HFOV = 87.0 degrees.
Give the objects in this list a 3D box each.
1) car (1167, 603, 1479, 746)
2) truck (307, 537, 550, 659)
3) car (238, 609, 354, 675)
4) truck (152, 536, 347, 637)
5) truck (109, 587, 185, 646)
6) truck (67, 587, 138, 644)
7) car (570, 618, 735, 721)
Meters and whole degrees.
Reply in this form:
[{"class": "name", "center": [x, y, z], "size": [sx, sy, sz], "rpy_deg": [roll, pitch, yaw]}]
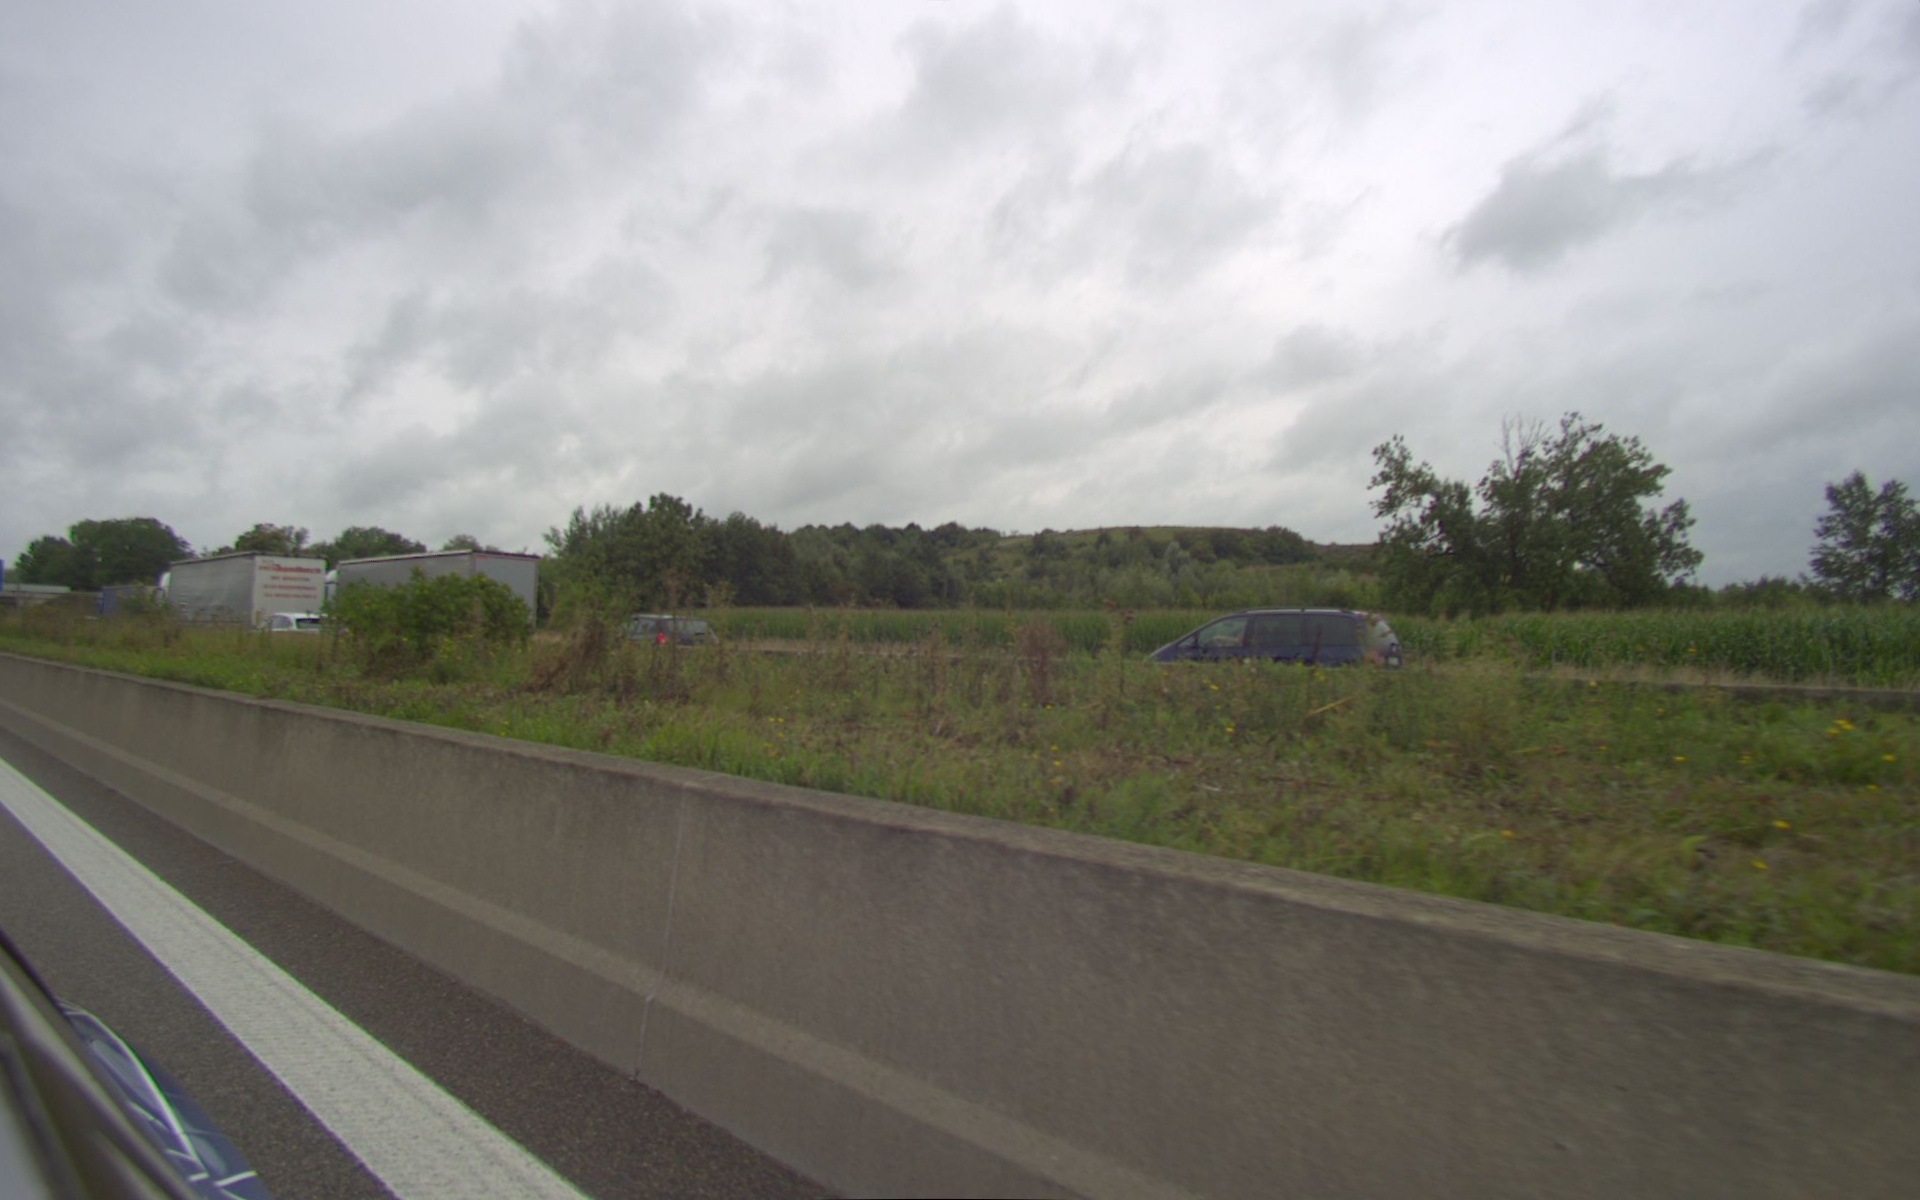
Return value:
[{"class": "car", "center": [5.917, 1.095, 16.817], "size": [4.479, 2.029, 1.973], "rpy_deg": [-1, 0, 41]}, {"class": "truck", "center": [-23.031, -0.006, 42.877], "size": [16.893, 4.375, 3.290], "rpy_deg": [-1, 0, 41]}, {"class": "car", "center": [-18.308, 1.096, 27.857], "size": [3.998, 1.652, 1.657], "rpy_deg": [-1, 0, 41]}, {"class": "truck", "center": [-32.616, -0.478, 45.896], "size": [16.103, 3.910, 3.562], "rpy_deg": [-1, 0, 41]}, {"class": "truck", "center": [-58.688, 1.202, 72.949], "size": [8.760, 4.005, 2.425], "rpy_deg": [-1, -2, 39]}, {"class": "truck", "center": [-68.915, 1.272, 81.263], "size": [8.188, 4.310, 2.892], "rpy_deg": [-1, -2, 40]}, {"class": "car", "center": [-7.098, 1.484, 23.176], "size": [3.998, 2.029, 1.790], "rpy_deg": [1, 1, 41]}]
